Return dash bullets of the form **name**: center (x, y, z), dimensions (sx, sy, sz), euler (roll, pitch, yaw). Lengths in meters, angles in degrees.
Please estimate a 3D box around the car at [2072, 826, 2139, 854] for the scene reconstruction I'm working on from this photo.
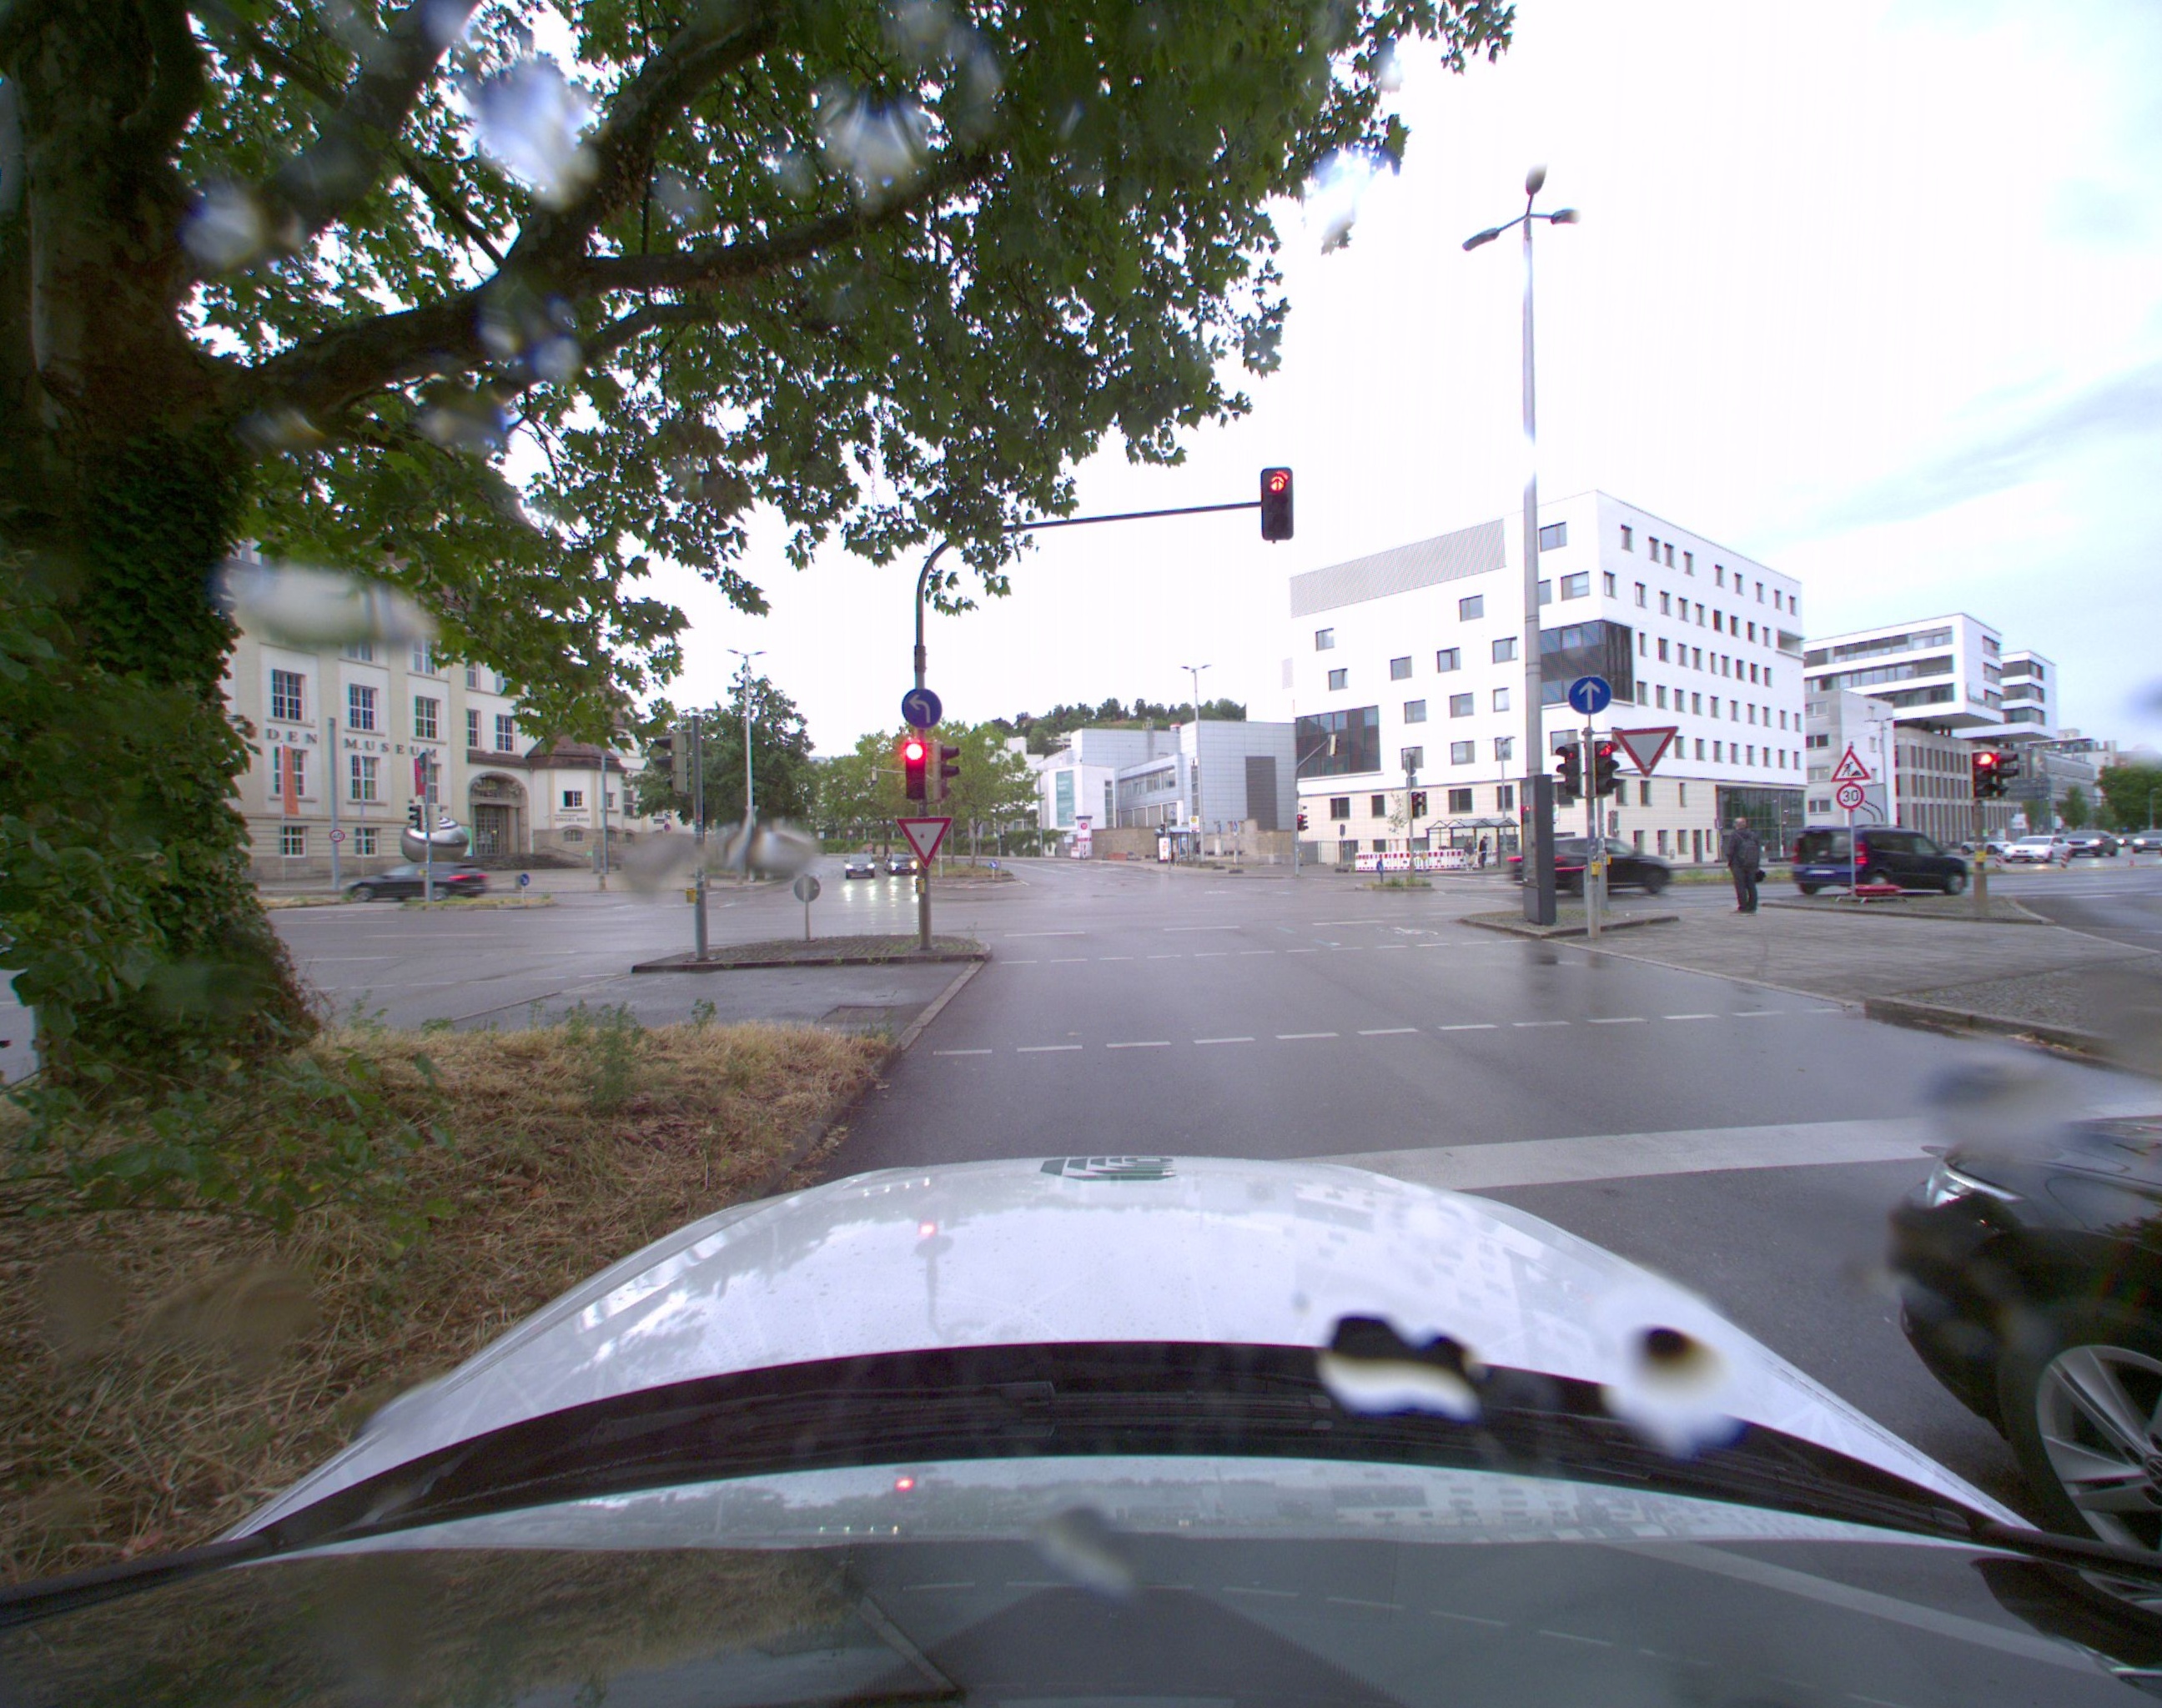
- **car**: center (64.644, -0.879, 51.355), dimensions (4.400, 1.664, 1.981), euler (-1, 0, -30)

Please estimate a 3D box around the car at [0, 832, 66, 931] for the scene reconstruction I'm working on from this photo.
- **car**: center (-30.248, 0.730, 21.223), dimensions (5.980, 2.494, 2.072), euler (-1, 1, 10)

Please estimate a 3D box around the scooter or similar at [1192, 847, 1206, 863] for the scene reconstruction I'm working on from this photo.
- **scooter or similar**: center (9.378, 0.084, 64.930), dimensions (0.593, 1.239, 1.305), euler (1, -1, -19)

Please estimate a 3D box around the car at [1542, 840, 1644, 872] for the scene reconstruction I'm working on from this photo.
- **car**: center (23.936, 0.101, 38.101), dimensions (3.991, 1.444, 1.790), euler (0, 0, -13)

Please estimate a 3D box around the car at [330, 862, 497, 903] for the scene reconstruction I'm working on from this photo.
- **car**: center (-24.662, 1.027, 30.245), dimensions (4.367, 1.378, 1.996), euler (-1, 0, -6)

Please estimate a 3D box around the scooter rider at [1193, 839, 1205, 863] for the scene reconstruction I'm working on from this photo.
- **scooter rider**: center (9.397, -0.246, 64.925), dimensions (0.725, 1.883, 0.628), euler (1, -1, -18)

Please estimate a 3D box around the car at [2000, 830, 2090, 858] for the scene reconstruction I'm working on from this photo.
- **car**: center (52.678, -0.525, 44.521), dimensions (3.997, 1.444, 1.787), euler (0, 0, -17)

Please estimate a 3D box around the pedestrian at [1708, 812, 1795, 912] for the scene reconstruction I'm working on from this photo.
- **pedestrian**: center (13.113, 0.162, 15.962), dimensions (0.826, 1.892, 1.025), euler (0, -1, -7)

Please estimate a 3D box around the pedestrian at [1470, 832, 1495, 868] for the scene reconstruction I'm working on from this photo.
- **pedestrian**: center (21.692, -0.197, 44.022), dimensions (0.995, 1.935, 0.957), euler (0, -1, 11)

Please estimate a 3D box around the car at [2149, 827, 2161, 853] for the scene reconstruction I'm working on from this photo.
- **car**: center (68.123, -0.847, 49.723), dimensions (4.520, 1.557, 1.957), euler (0, 0, -14)

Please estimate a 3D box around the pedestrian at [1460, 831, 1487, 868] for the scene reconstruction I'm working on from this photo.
- **pedestrian**: center (20.184, -0.223, 41.923), dimensions (0.951, 1.840, 0.821), euler (0, -1, -10)

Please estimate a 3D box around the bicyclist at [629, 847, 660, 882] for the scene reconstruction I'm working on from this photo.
- **bicyclist**: center (-20.699, 0.507, 38.662), dimensions (1.126, 1.633, 0.699), euler (0, -1, -14)

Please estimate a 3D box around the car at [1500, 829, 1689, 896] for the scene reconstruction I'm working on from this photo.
- **car**: center (14.537, 0.203, 23.095), dimensions (4.678, 1.705, 1.790), euler (-1, 1, -14)

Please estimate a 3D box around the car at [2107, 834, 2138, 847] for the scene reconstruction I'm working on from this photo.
- **car**: center (121.301, -1.550, 94.886), dimensions (4.182, 1.450, 1.943), euler (0, 0, -42)

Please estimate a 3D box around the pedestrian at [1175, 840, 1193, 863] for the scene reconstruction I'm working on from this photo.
- **pedestrian**: center (7.755, -0.218, 61.533), dimensions (1.253, 1.719, 1.016), euler (0, -1, 0)

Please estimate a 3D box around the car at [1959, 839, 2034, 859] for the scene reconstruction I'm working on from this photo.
- **car**: center (75.961, -0.407, 67.655), dimensions (1.949, 1.557, 4.072), euler (0, 0, 8)

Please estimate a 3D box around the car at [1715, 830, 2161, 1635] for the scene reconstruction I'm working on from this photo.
- **car**: center (2.800, 0.705, 0.282), dimensions (1.665, 1.466, 4.512), euler (-1, 1, 0)

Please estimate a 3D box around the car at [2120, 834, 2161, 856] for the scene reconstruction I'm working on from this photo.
- **car**: center (77.084, -0.641, 58.707), dimensions (4.168, 1.537, 1.950), euler (0, 0, -27)

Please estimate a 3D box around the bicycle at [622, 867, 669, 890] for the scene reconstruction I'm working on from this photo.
- **bicycle**: center (-20.660, 1.163, 38.656), dimensions (1.818, 1.056, 0.645), euler (-1, -1, -15)

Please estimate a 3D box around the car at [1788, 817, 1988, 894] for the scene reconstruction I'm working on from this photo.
- **car**: center (21.592, 0.006, 21.844), dimensions (4.299, 1.908, 1.790), euler (-1, 1, -13)

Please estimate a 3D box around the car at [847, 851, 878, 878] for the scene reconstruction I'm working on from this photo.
- **car**: center (-14.592, 0.659, 54.282), dimensions (1.871, 1.564, 4.254), euler (-2, 1, -15)

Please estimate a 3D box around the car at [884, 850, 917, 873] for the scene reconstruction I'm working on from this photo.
- **car**: center (-12.905, 0.511, 58.193), dimensions (1.795, 1.584, 3.973), euler (-2, 1, -20)
